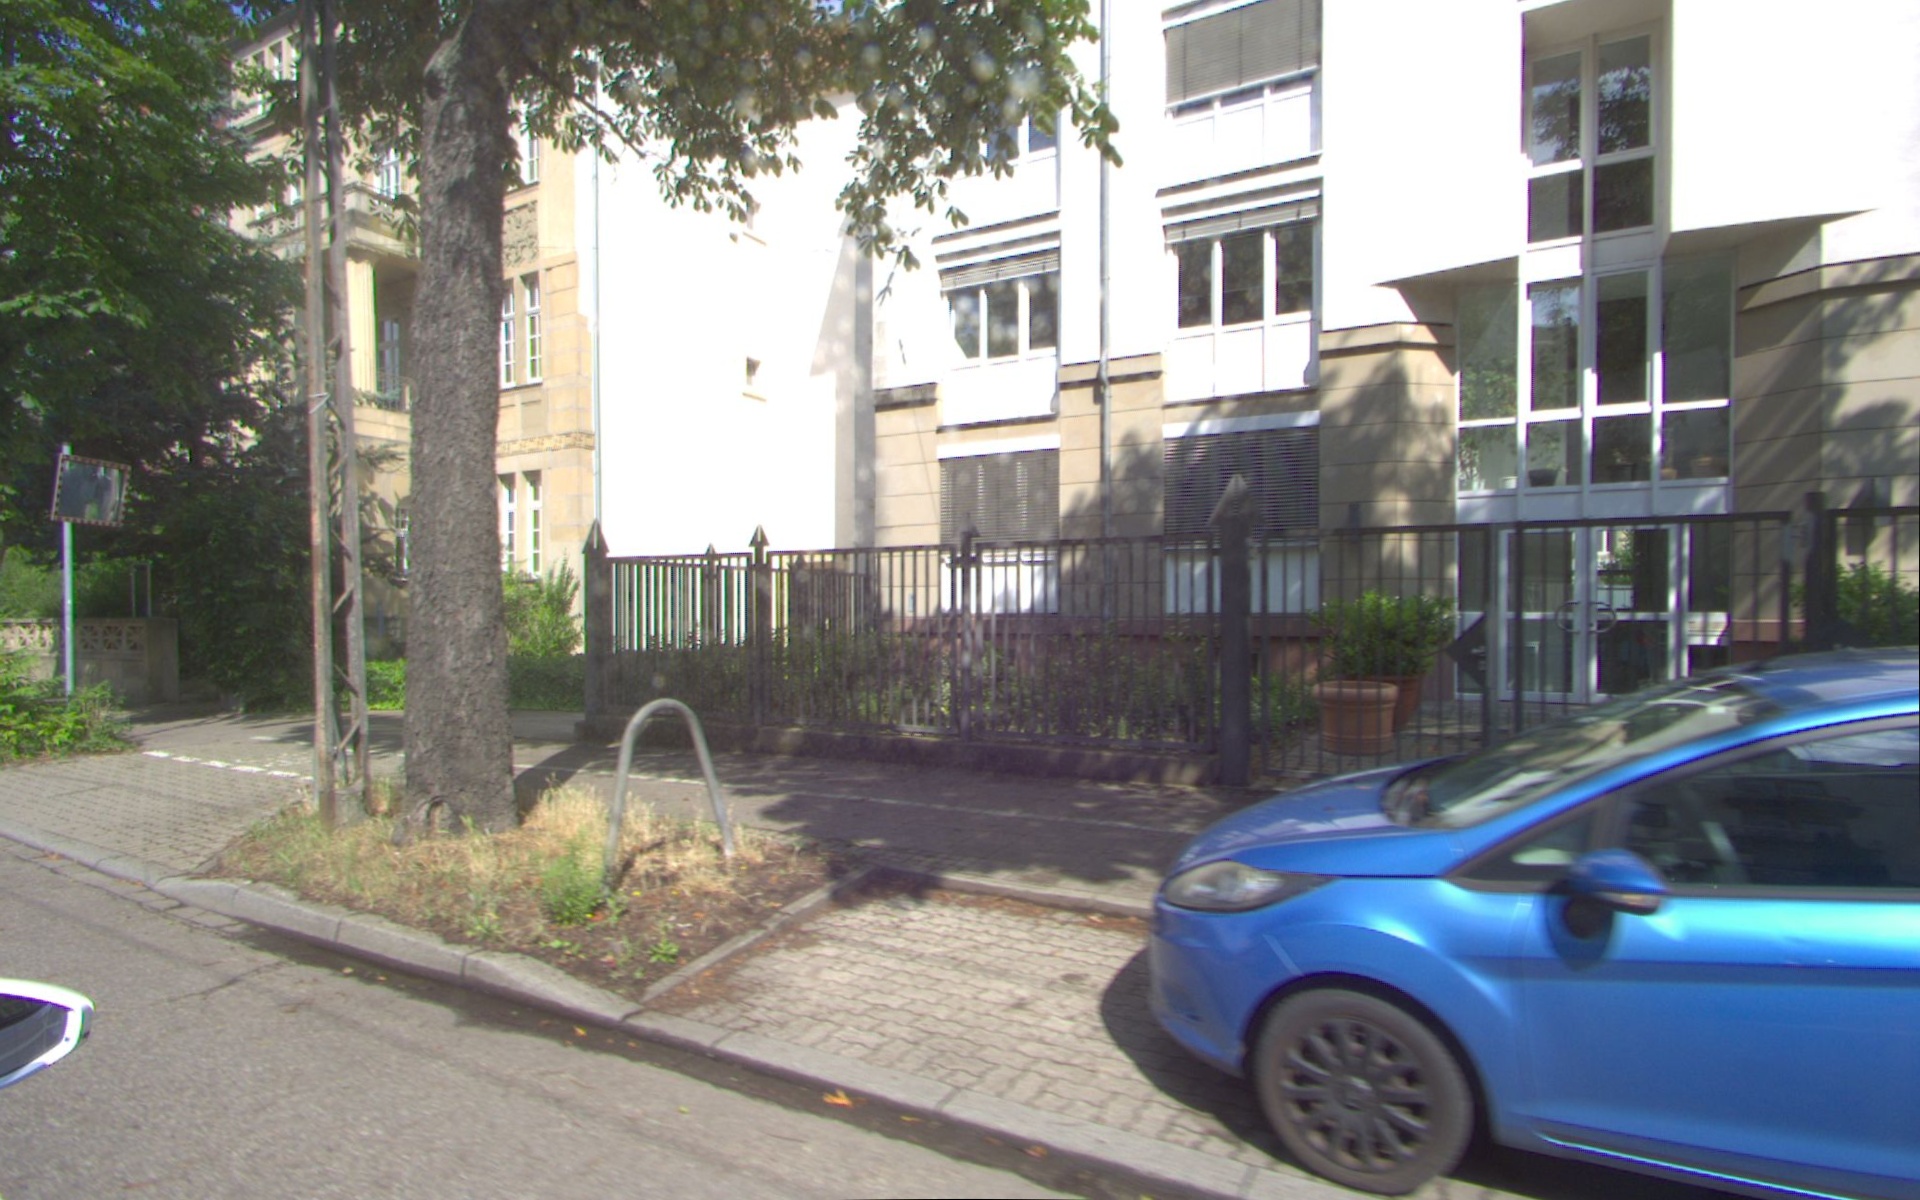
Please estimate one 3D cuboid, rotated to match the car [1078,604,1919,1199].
[{"bbox_3d":[2.410,0.794,2.881,3.789,1.516,1.621,0,2,30],"label":"car"}]
